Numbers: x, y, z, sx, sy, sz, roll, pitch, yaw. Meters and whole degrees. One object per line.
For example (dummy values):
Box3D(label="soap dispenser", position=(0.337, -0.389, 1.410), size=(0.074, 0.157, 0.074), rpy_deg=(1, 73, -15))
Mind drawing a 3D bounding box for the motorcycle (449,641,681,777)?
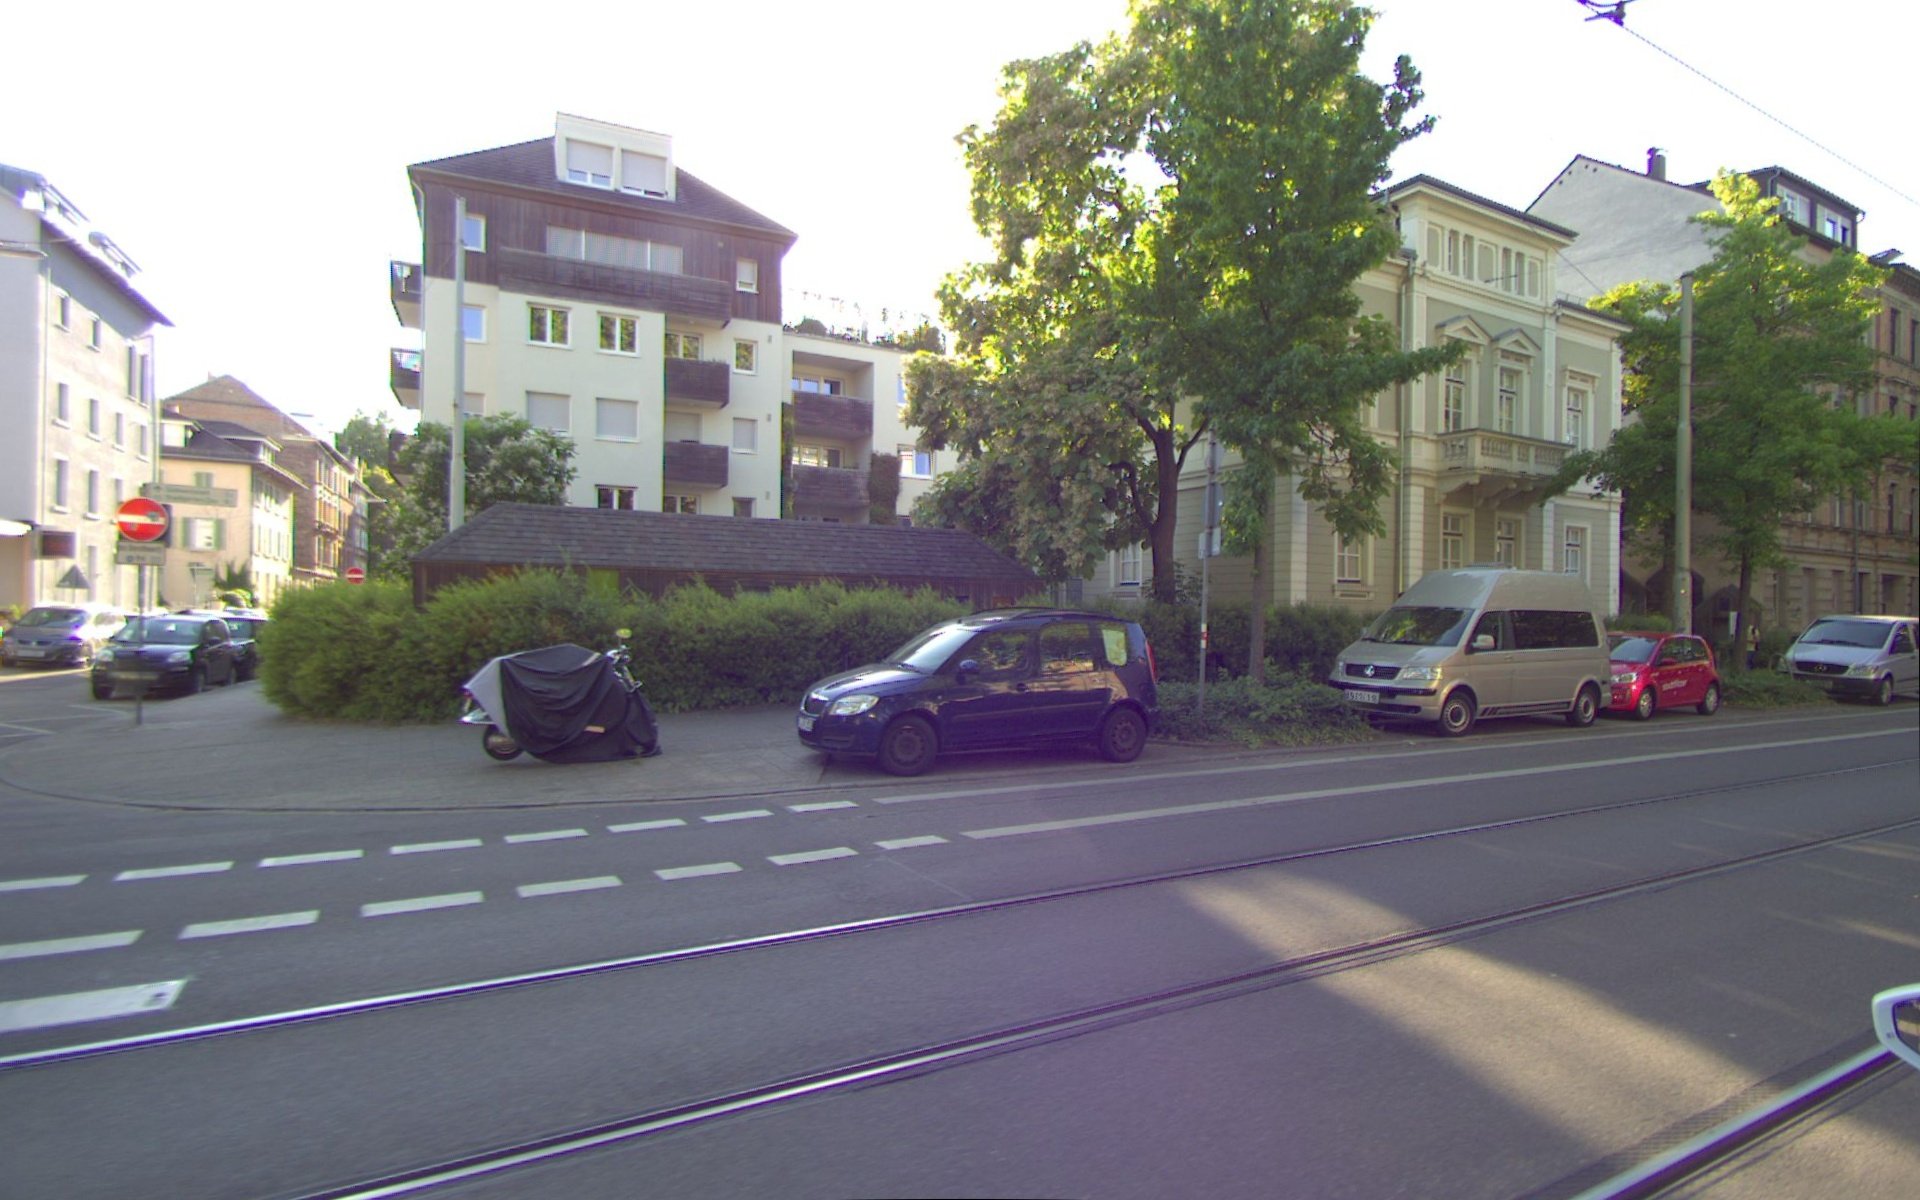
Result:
Box3D(label="motorcycle", position=(-3.981, 1.051, 10.190), size=(2.122, 1.155, 0.670), rpy_deg=(-1, 3, -28))

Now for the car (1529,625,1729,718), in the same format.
Box3D(label="car", position=(12.320, 1.245, 18.457), size=(3.665, 1.560, 1.676), rpy_deg=(1, -1, -31))

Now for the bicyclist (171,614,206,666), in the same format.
Box3D(label="bicyclist", position=(-22.087, 1.134, 28.764), size=(0.639, 1.452, 0.800), rpy_deg=(1, -1, -28))

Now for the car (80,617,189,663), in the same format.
Box3D(label="car", position=(-27.971, 1.330, 34.191), size=(1.940, 1.442, 4.049), rpy_deg=(1, -2, -26))

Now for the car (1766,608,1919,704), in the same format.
Box3D(label="car", position=(20.810, 1.233, 23.121), size=(4.928, 2.015, 1.835), rpy_deg=(1, -1, -30))

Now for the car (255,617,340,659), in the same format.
Box3D(label="car", position=(-22.229, 1.245, 33.855), size=(1.856, 1.325, 4.048), rpy_deg=(1, -2, -26))

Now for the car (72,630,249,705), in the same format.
Box3D(label="car", position=(-15.449, 1.239, 19.656), size=(1.856, 1.270, 4.048), rpy_deg=(1, -2, -26))

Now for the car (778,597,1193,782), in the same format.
Box3D(label="car", position=(0.306, 0.877, 11.182), size=(4.207, 1.712, 1.985), rpy_deg=(1, -1, -28))

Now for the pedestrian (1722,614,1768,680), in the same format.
Box3D(label="pedestrian", position=(20.472, 1.211, 26.204), size=(0.936, 1.684, 0.602), rpy_deg=(1, 0, -29))

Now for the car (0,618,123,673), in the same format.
Box3D(label="car", position=(-25.612, 1.257, 28.469), size=(1.940, 1.442, 4.049), rpy_deg=(1, -2, -26))

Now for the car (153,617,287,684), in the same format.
Box3D(label="car", position=(-17.581, 1.161, 24.071), size=(1.856, 1.469, 4.048), rpy_deg=(1, -2, -26))

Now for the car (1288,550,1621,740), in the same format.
Box3D(label="car", position=(7.852, 0.663, 15.794), size=(5.284, 2.541, 2.292), rpy_deg=(1, -1, -32))
